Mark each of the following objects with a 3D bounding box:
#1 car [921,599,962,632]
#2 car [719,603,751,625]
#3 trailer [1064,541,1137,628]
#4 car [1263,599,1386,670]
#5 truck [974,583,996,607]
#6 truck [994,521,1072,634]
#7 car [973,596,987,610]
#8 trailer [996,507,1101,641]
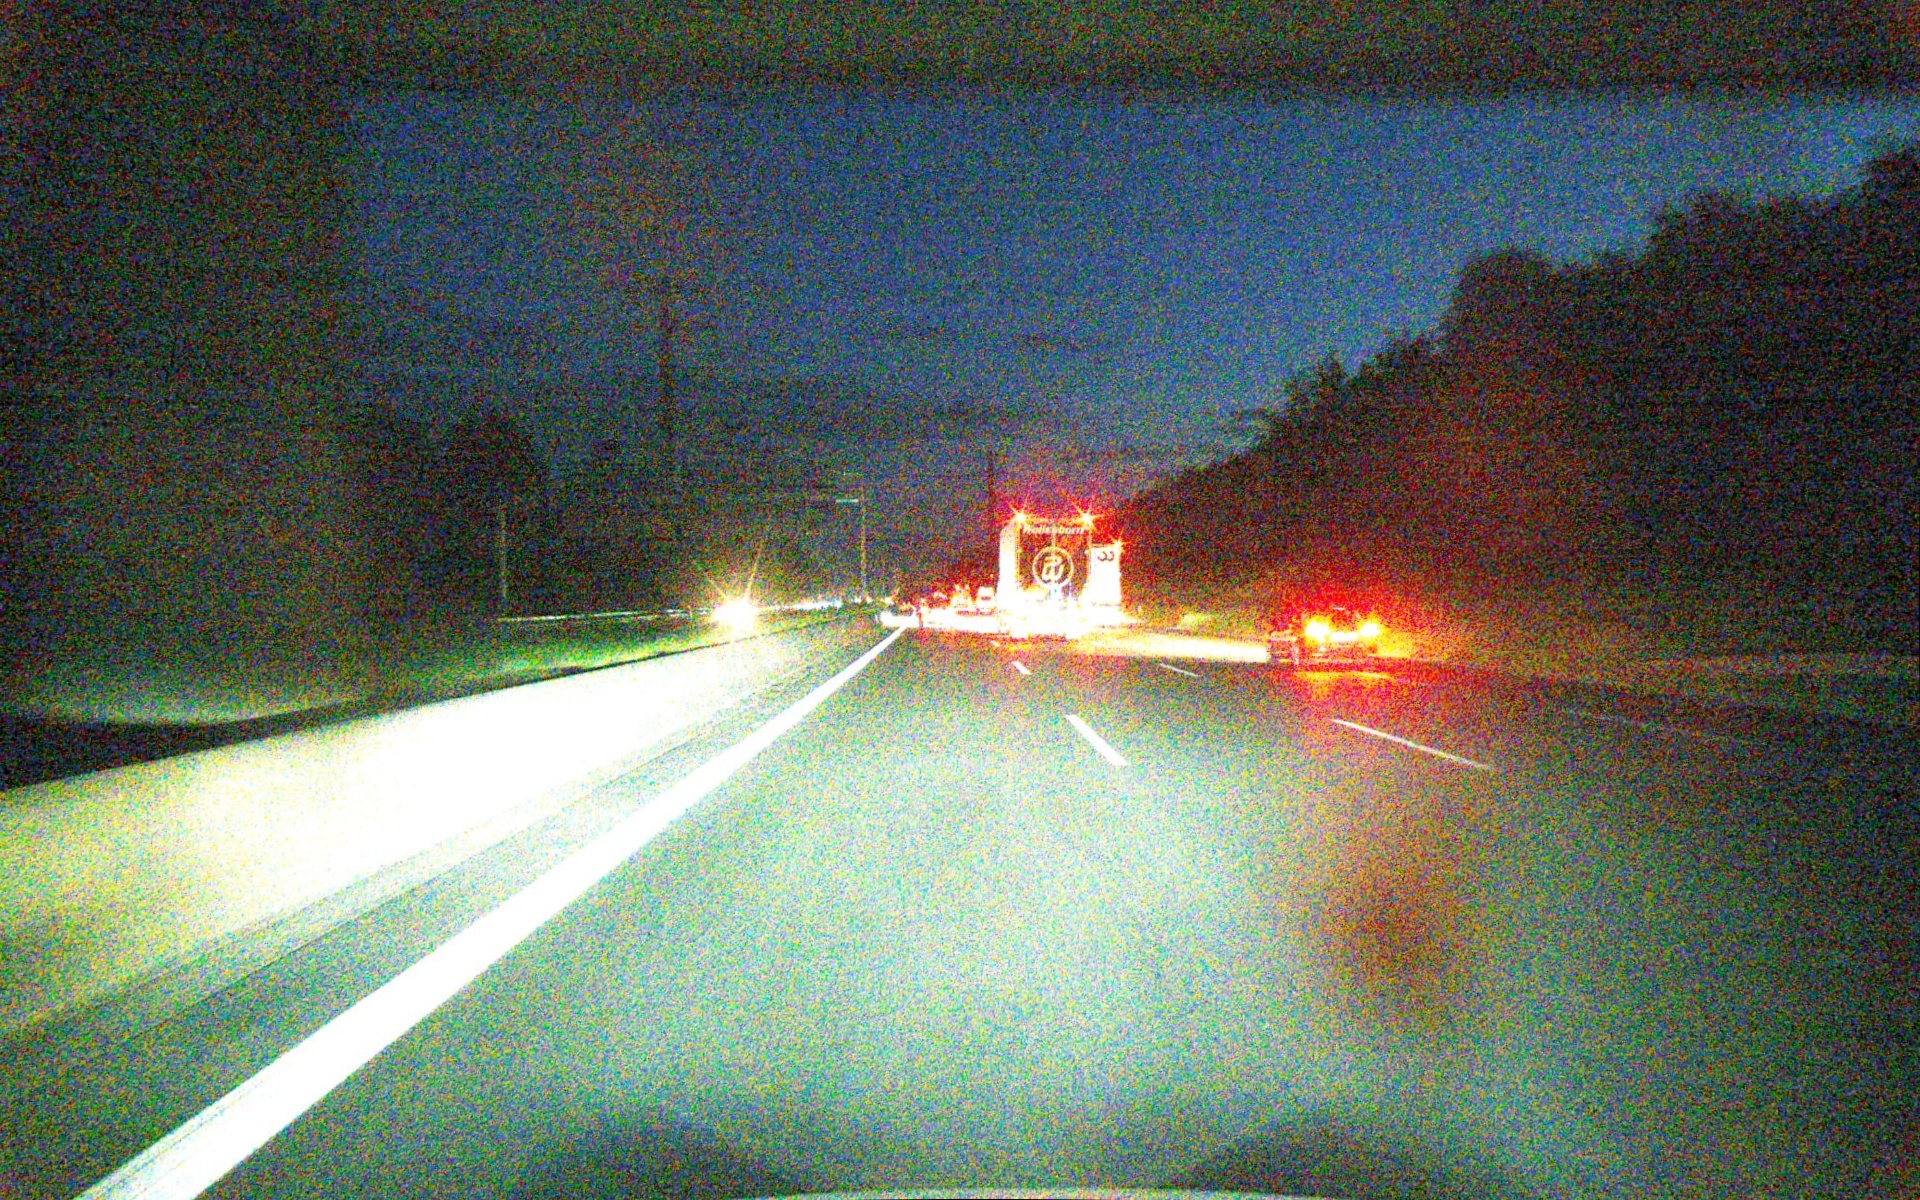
[{"bbox_3d":[-0.884,0.690,77.607,1.784,1.492,4.245,1,0,-2],"label":"car"},{"bbox_3d":[-16.553,1.030,122.038,1.785,1.491,4.558,-4,0,-2],"label":"car"},{"bbox_3d":[7.032,-0.742,84.126,2.538,4.144,10.005,1,0,-2],"label":"trailer"},{"bbox_3d":[8.236,0.746,37.695,1.784,1.492,4.246,1,0,-1],"label":"car"},{"bbox_3d":[2.982,-0.538,202.444,2.036,2.738,7.301,1,-1,-4],"label":"truck"},{"bbox_3d":[2.862,-0.841,66.505,2.608,4.280,6.720,1,0,-2],"label":"truck"},{"bbox_3d":[2.167,0.301,178.194,1.319,1.411,3.500,1,0,-2],"label":"car"},{"bbox_3d":[3.000,-0.825,59.887,2.687,4.280,13.506,1,0,-2],"label":"trailer"}]
